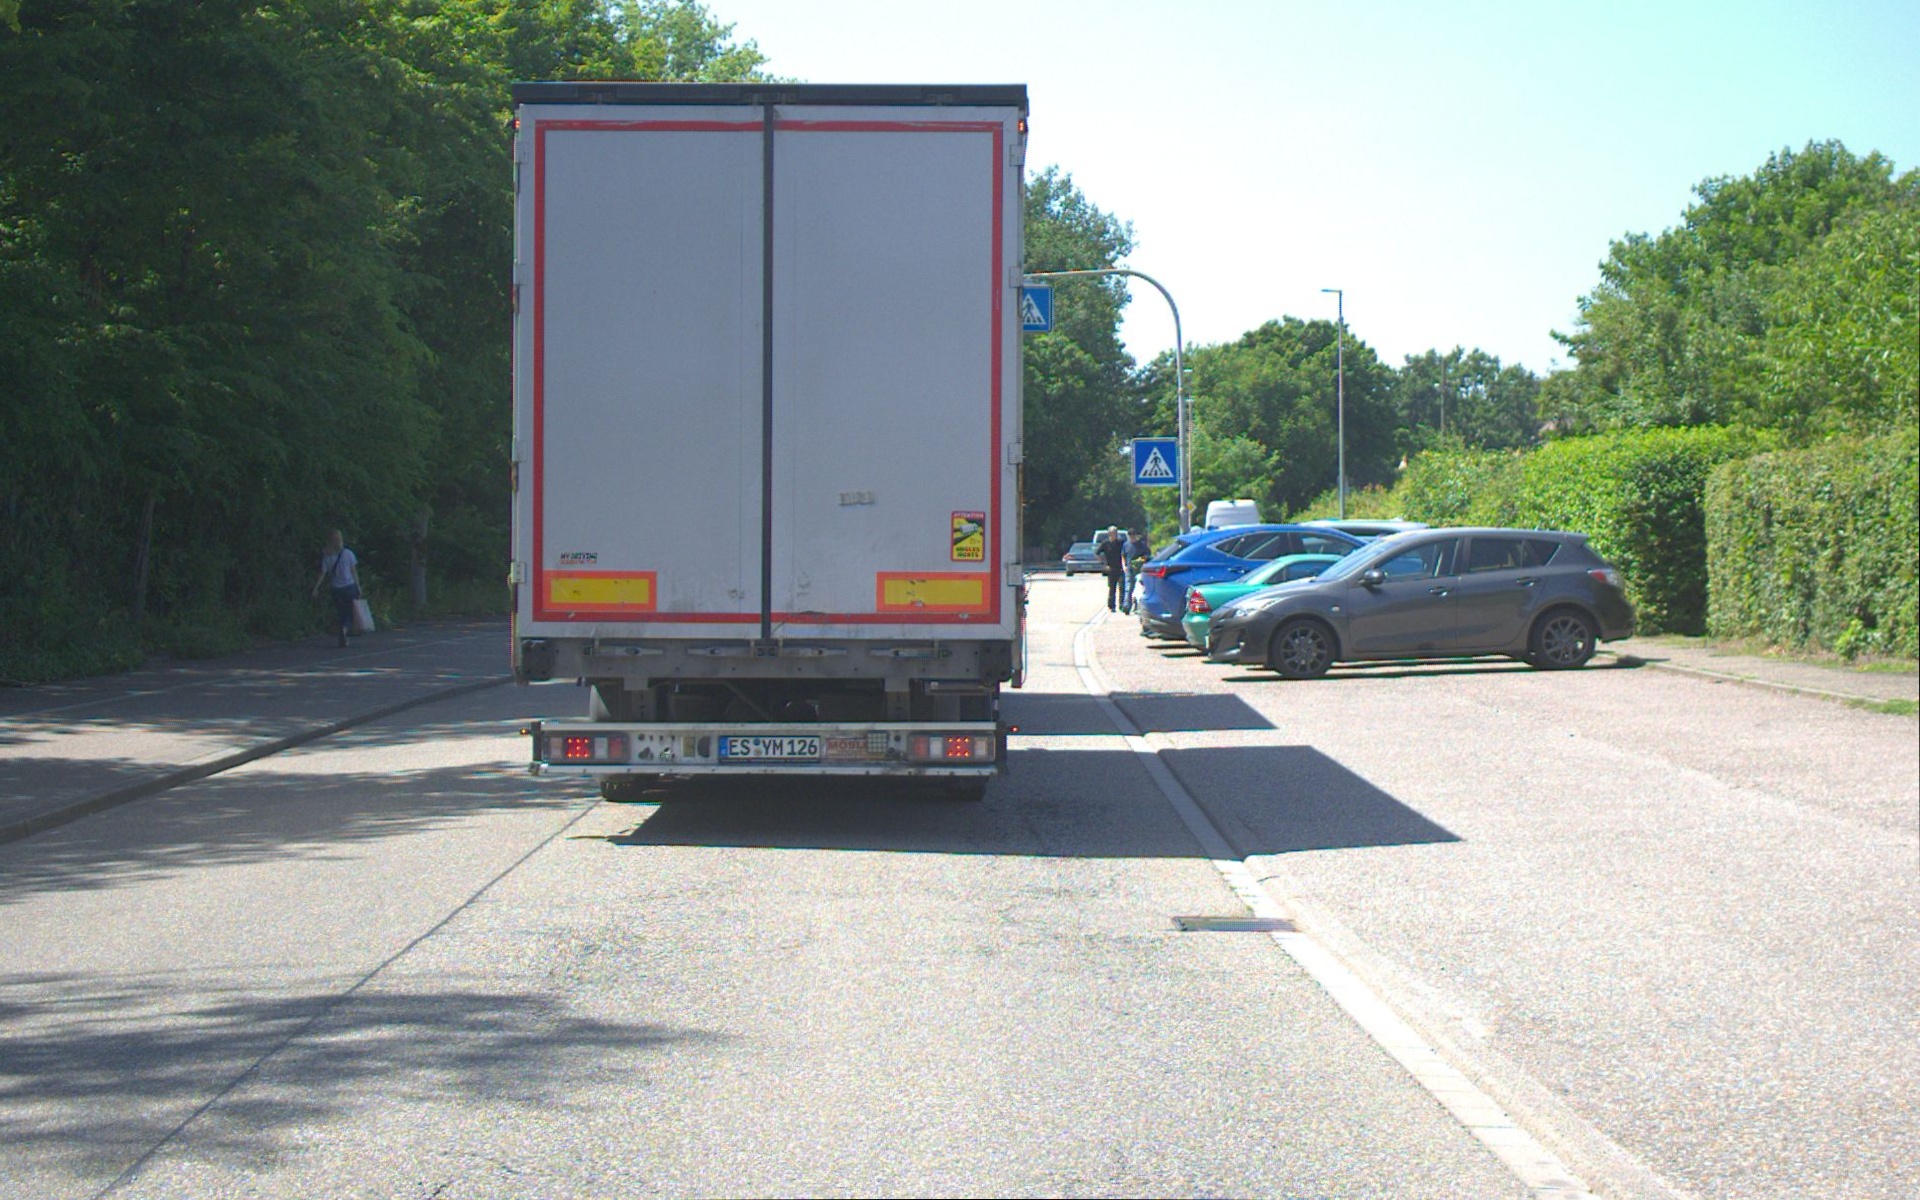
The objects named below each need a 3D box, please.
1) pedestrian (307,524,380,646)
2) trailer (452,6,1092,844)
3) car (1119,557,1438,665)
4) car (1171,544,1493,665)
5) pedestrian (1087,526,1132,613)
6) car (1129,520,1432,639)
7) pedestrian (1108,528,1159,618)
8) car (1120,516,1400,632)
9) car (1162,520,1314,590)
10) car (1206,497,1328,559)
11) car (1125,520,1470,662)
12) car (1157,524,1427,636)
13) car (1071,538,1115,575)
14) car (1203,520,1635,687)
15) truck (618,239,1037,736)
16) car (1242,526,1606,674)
[{"bbox_3d":[-8.354,-0.207,46.613,0.828,1.617,0.783,1,1,-1],"label":"pedestrian"},{"bbox_3d":[-0.972,-0.968,22.632,3.112,4.088,11.537,0,1,-1],"label":"trailer"},{"bbox_3d":[4.377,0.130,47.551,4.129,1.434,1.815,0,1,-5],"label":"car"},{"bbox_3d":[4.475,0.049,41.742,3.735,1.264,1.628,-3,0,2],"label":"car"},{"bbox_3d":[3.202,-0.656,73.622,0.822,1.828,0.792,-3,0,7],"label":"pedestrian"},{"bbox_3d":[4.671,-0.288,50.555,4.236,1.648,1.900,-1,-1,0],"label":"car"},{"bbox_3d":[3.586,-0.559,71.050,0.908,1.792,0.935,-3,0,7],"label":"pedestrian"},{"bbox_3d":[4.956,-0.436,57.176,4.404,1.692,1.877,-3,0,-1],"label":"car"},{"bbox_3d":[7.640,-1.233,94.692,3.956,1.759,1.814,-2,1,-1],"label":"car"},{"bbox_3d":[10.293,-2.401,115.305,3.957,1.792,1.813,-3,-1,5],"label":"car"},{"bbox_3d":[4.322,-0.131,44.542,4.238,1.628,1.823,-2,1,0],"label":"car"},{"bbox_3d":[5.235,-0.324,54.626,4.125,1.651,1.887,-1,1,2],"label":"car"},{"bbox_3d":[5.472,-1.806,141.576,1.781,1.481,4.000,0,1,2],"label":"car"},{"bbox_3d":[4.689,0.028,35.565,4.164,1.490,1.883,-3,0,0],"label":"car"},{"bbox_3d":[-1.034,-0.902,29.004,3.113,3.712,6.414,0,1,-1],"label":"truck"},{"bbox_3d":[5.181,-0.006,38.748,3.801,1.450,1.774,-3,0,0],"label":"car"}]
